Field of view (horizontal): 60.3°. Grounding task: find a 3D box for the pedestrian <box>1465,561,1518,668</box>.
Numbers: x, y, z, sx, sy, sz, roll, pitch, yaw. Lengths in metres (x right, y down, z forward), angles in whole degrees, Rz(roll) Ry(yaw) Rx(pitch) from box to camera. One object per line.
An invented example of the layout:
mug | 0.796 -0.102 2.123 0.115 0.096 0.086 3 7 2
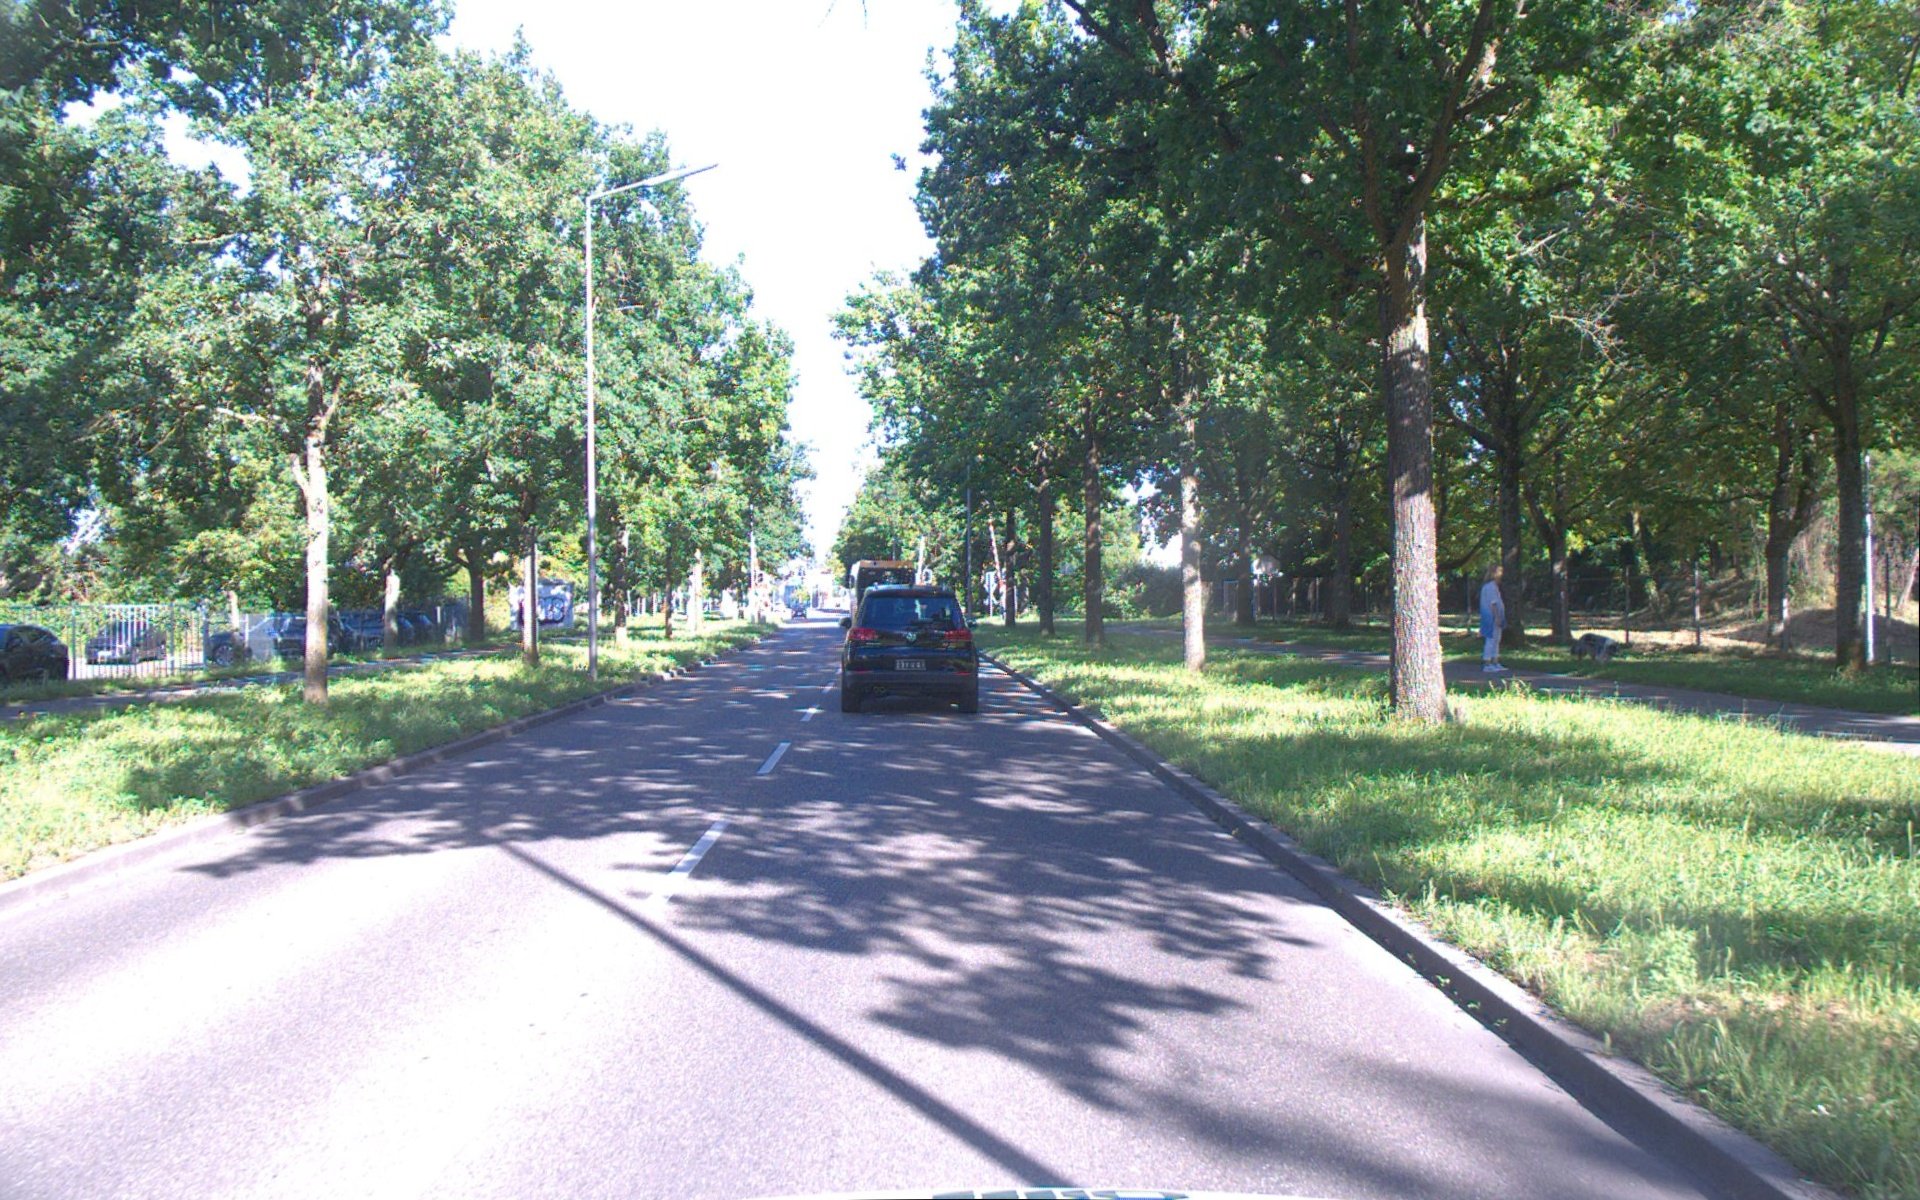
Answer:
pedestrian | 8.516 0.227 26.520 0.701 1.659 0.610 -3 0 15

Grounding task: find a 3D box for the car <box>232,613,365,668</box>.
car | -23.047 1.391 57.741 3.914 1.833 1.996 1 0 -10

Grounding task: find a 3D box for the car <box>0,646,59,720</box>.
car | -23.310 1.958 38.647 1.954 1.625 5.012 1 0 -3

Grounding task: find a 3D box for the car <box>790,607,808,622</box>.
car | -17.039 1.506 175.315 1.533 1.531 3.999 1 0 -1

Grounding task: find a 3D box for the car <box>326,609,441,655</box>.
car | -23.772 1.318 68.340 4.111 1.833 1.997 1 0 -8

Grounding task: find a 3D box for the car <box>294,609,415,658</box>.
car | -23.915 1.325 65.476 4.111 1.833 1.997 1 0 -8

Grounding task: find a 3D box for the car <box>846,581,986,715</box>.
car | -0.672 0.612 22.832 1.747 1.662 3.997 1 0 -4

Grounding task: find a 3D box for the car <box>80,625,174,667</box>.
car | -34.141 1.863 67.936 1.956 1.594 4.875 1 0 -8

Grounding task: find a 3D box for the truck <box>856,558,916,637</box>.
truck | -3.367 -0.108 73.905 2.462 3.300 8.145 -1 0 -4
